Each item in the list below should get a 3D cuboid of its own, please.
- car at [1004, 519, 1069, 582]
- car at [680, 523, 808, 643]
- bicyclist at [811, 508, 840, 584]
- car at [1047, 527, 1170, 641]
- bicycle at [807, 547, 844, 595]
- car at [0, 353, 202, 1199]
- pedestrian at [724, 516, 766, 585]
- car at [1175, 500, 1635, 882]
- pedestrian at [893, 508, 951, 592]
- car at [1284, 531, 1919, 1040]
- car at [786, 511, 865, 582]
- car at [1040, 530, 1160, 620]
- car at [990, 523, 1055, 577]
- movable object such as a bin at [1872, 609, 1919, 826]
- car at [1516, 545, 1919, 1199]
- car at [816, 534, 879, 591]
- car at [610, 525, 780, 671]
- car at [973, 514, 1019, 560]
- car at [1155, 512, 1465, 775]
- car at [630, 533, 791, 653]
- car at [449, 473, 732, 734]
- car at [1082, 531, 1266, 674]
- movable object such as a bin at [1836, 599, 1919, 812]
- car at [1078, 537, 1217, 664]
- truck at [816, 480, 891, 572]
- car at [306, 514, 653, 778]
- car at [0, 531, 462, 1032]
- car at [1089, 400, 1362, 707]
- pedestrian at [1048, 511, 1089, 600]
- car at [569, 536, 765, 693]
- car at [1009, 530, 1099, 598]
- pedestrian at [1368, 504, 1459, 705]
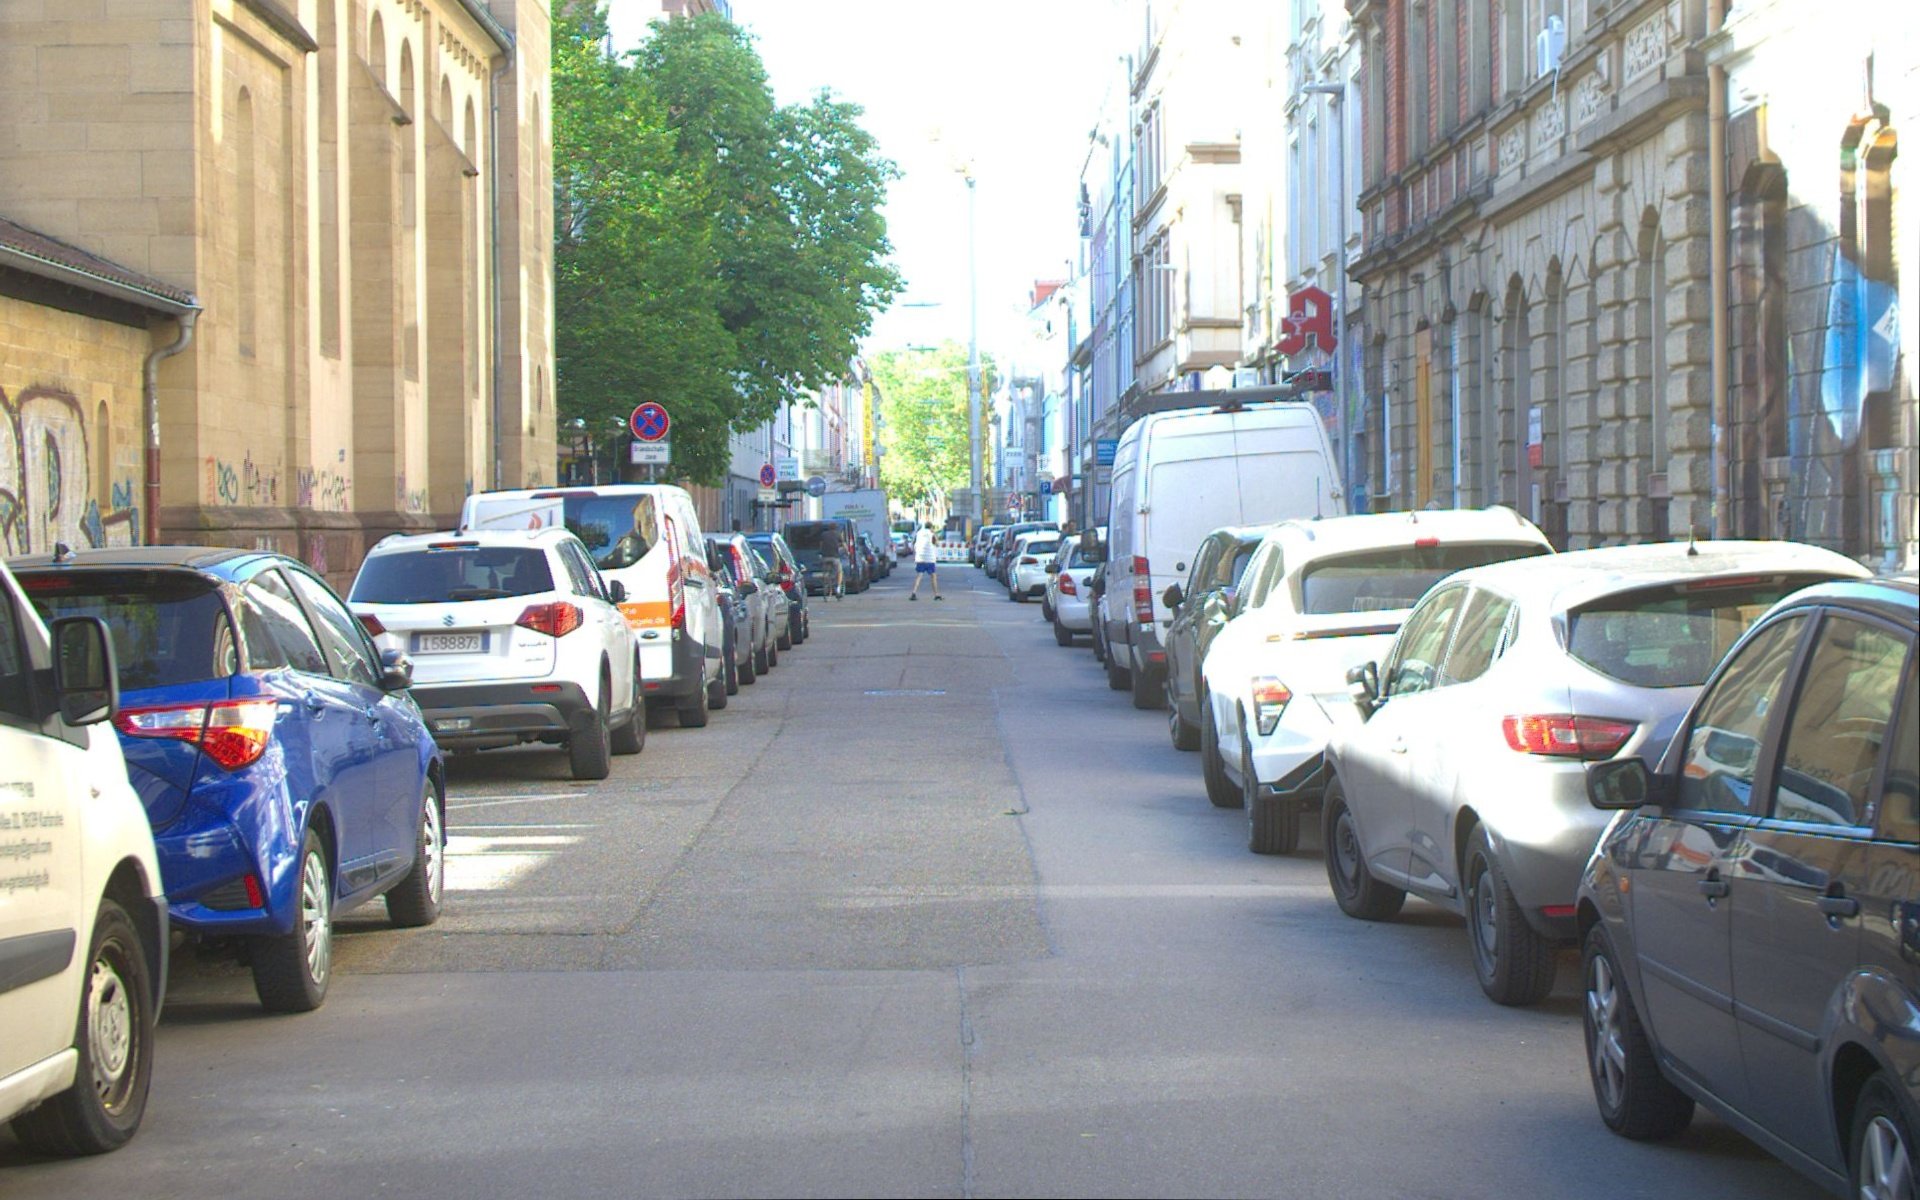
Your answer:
[{"bbox_3d":[2.159,-1.420,97.757,1.769,1.735,4.000,0,1,0],"label":"car"},{"bbox_3d":[-3.082,-0.269,49.568,1.600,1.608,3.808,-2,1,-1],"label":"car"},{"bbox_3d":[-2.970,-1.193,76.013,0.605,1.682,0.885,0,1,0],"label":"bicyclist"},{"bbox_3d":[2.052,-0.255,48.339,1.604,1.499,4.000,2,1,1],"label":"car"},{"bbox_3d":[-2.971,-0.648,75.976,0.739,1.040,1.859,0,1,0],"label":"bicycle"},{"bbox_3d":[-2.942,0.421,6.773,1.845,1.856,4.465,0,2,1],"label":"car"},{"bbox_3d":[-5.150,-1.187,82.367,0.929,1.631,0.806,0,1,1],"label":"pedestrian"},{"bbox_3d":[2.169,0.391,17.853,1.808,1.684,4.214,2,1,0],"label":"car"},{"bbox_3d":[-0.843,-1.111,76.262,1.008,1.837,0.785,0,1,-30],"label":"pedestrian"},{"bbox_3d":[2.325,0.547,12.629,1.572,1.520,3.909,2,1,-4],"label":"car"},{"bbox_3d":[-3.458,-1.406,88.993,1.875,1.790,4.000,0,1,0],"label":"car"},{"bbox_3d":[2.369,-0.449,58.975,1.716,1.483,3.870,0,1,-3],"label":"car"},{"bbox_3d":[2.000,-1.641,111.055,1.993,1.626,4.000,3,1,0],"label":"car"},{"bbox_3d":[4.971,0.575,17.066,0.548,1.049,0.603,-4,2,-33],"label":"movable object such as a bin"},{"bbox_3d":[2.347,0.651,7.512,1.535,1.508,3.682,-1,1,-2],"label":"car"},{"bbox_3d":[-3.605,-1.221,110.719,1.875,1.790,4.000,0,1,0],"label":"car"},{"bbox_3d":[-2.960,-0.061,39.020,1.673,1.553,4.000,-1,1,-1],"label":"car"},{"bbox_3d":[1.593,-2.804,153.292,1.993,2.007,4.000,0,1,0],"label":"car"},{"bbox_3d":[2.302,0.230,23.475,1.687,1.637,3.925,0,1,0],"label":"car"},{"bbox_3d":[-3.157,-0.121,44.148,1.570,1.393,3.808,-3,1,2],"label":"car"},{"bbox_3d":[-2.967,-0.022,28.507,1.864,1.950,4.610,-1,1,-1],"label":"car"},{"bbox_3d":[2.377,-0.014,39.149,1.779,1.481,4.360,2,1,0],"label":"car"},{"bbox_3d":[4.980,0.535,17.864,0.547,1.049,0.604,-3,1,-18],"label":"movable object such as a bin"},{"bbox_3d":[2.337,-0.029,43.556,1.570,1.490,3.653,2,1,1],"label":"car"},{"bbox_3d":[-3.904,-2.733,127.161,2.532,3.270,6.995,0,1,0],"label":"truck"},{"bbox_3d":[-3.076,0.239,22.717,1.742,1.581,3.869,1,1,0],"label":"car"},{"bbox_3d":[-2.905,0.521,12.286,1.687,1.471,3.860,-2,1,-1],"label":"car"},{"bbox_3d":[2.380,-0.470,32.345,2.068,2.602,5.888,1,1,0],"label":"car"},{"bbox_3d":[2.264,-0.935,71.758,0.681,1.837,0.695,1,1,-11],"label":"pedestrian"},{"bbox_3d":[-2.910,0.103,34.818,1.615,1.447,3.950,-1,1,0],"label":"car"},{"bbox_3d":[2.075,-0.820,76.868,1.897,1.483,3.869,0,1,0],"label":"car"},{"bbox_3d":[4.064,0.035,30.790,0.640,1.766,0.678,2,1,17],"label":"pedestrian"}]
